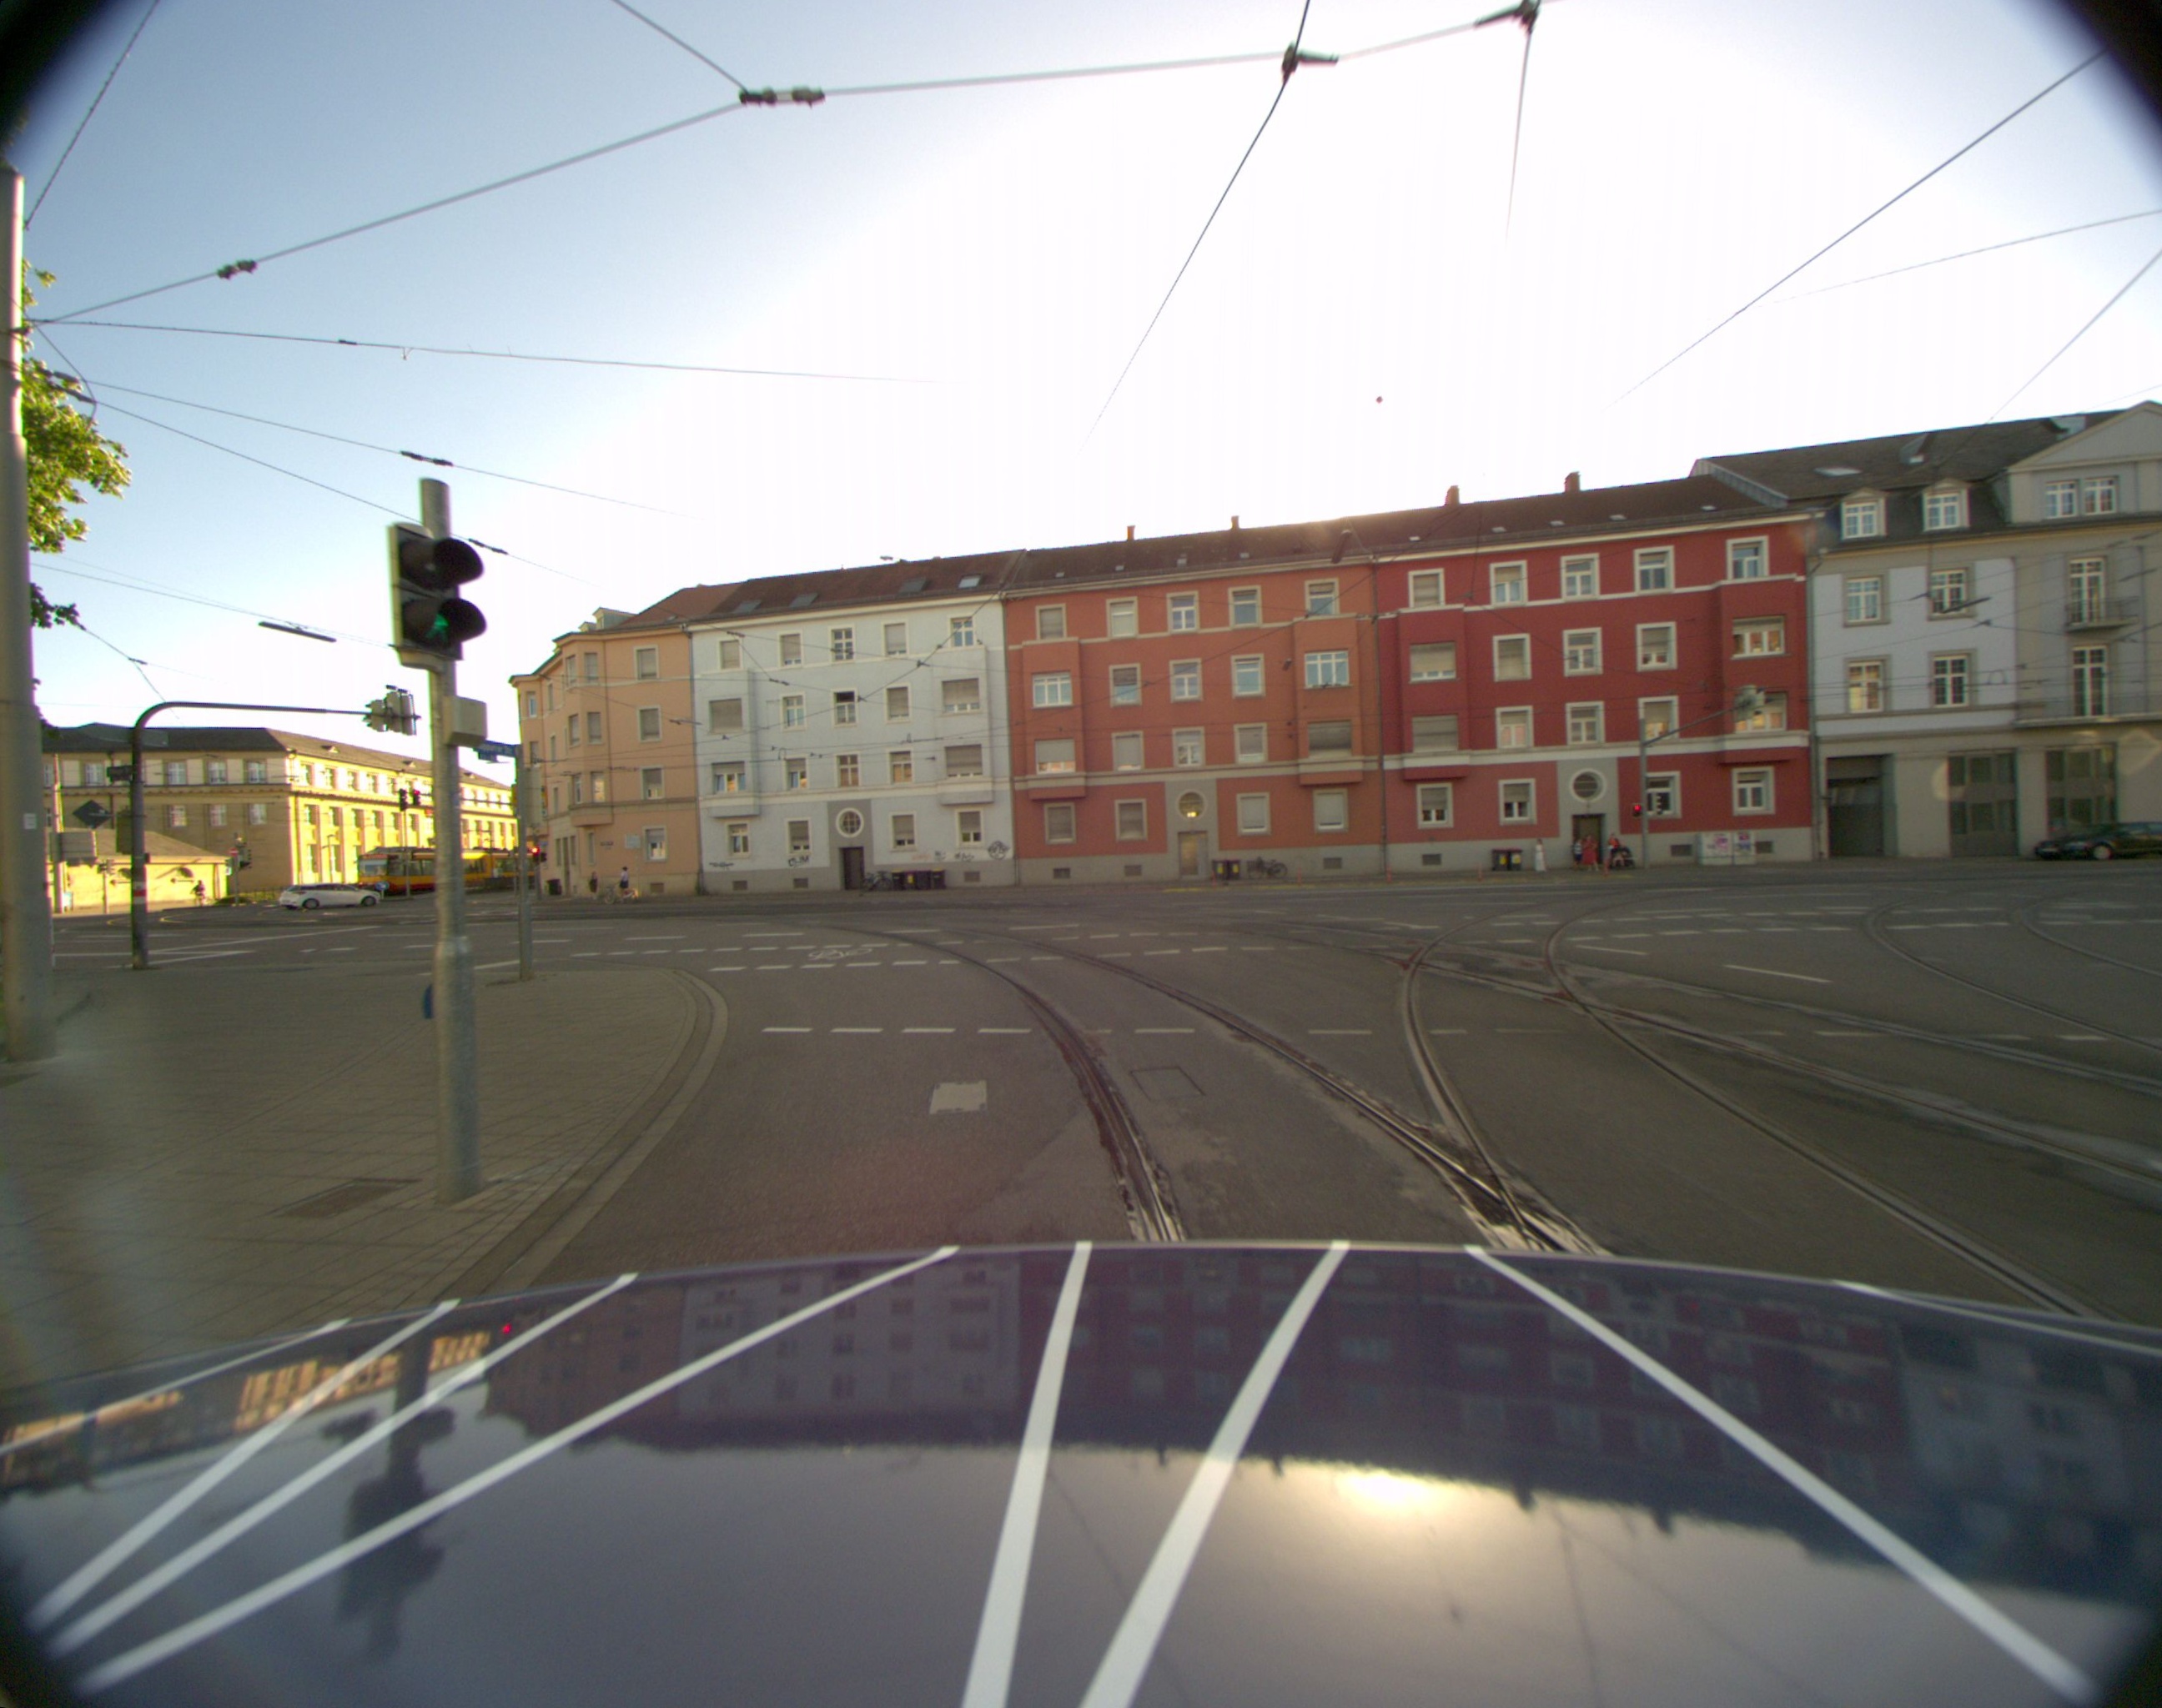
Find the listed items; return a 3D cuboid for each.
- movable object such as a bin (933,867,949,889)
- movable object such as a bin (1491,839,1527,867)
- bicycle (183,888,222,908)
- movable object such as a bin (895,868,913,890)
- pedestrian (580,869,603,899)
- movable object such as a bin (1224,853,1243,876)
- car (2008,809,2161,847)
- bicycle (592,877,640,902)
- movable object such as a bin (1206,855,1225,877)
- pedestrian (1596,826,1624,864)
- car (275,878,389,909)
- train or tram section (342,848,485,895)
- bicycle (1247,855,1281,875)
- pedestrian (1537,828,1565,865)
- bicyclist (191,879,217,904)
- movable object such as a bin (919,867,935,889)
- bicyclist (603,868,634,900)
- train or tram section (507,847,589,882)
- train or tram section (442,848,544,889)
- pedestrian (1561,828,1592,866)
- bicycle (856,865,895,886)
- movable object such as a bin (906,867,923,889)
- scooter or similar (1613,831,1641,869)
[{"bbox_3d":[-7.242,1.229,39.350,0.582,1.100,0.705,-2,1,9],"label":"movable object such as a bin"},{"bbox_3d":[19.651,-0.054,34.872,1.231,1.242,0.874,-2,1,16],"label":"movable object such as a bin"},{"bbox_3d":[-60.096,3.008,51.983,0.686,1.130,2.070,-3,2,-17],"label":"bicycle"},{"bbox_3d":[-9.269,1.295,39.708,0.647,1.100,0.705,-2,1,9],"label":"movable object such as a bin"},{"bbox_3d":[-27.237,1.664,42.261,0.719,1.555,0.678,-2,1,11],"label":"pedestrian"},{"bbox_3d":[7.392,0.503,36.903,0.810,1.034,0.846,-2,1,5],"label":"movable object such as a bin"},{"bbox_3d":[38.443,-0.977,28.825,3.994,1.225,1.726,-3,1,9],"label":"car"},{"bbox_3d":[-24.386,1.861,39.852,2.149,1.184,0.749,-2,1,10],"label":"bicycle"},{"bbox_3d":[6.557,0.566,37.000,0.810,1.034,0.846,-2,1,5],"label":"movable object such as a bin"},{"bbox_3d":[23.648,-0.398,33.946,0.796,1.624,0.653,-3,1,-23],"label":"pedestrian"},{"bbox_3d":[-41.988,2.188,42.703,1.788,1.386,4.110,-2,1,20],"label":"car"},{"bbox_3d":[-53.844,1.251,61.959,3.168,3.302,11.805,-3,1,-12],"label":"train or tram section"},{"bbox_3d":[8.861,0.538,36.794,1.601,0.885,0.336,-2,1,14],"label":"bicycle"},{"bbox_3d":[21.118,-0.329,34.173,0.655,1.624,0.794,-3,1,-12],"label":"pedestrian"},{"bbox_3d":[-60.163,2.592,52.146,0.678,1.630,0.938,-3,2,-17],"label":"bicyclist"},{"bbox_3d":[-7.992,1.244,39.489,0.582,1.100,0.705,-2,1,9],"label":"movable object such as a bin"},{"bbox_3d":[-24.232,1.576,39.816,1.124,1.633,0.749,-2,1,10],"label":"bicyclist"},{"bbox_3d":[-58.312,1.025,83.513,3.166,3.338,10.836,-3,2,-12],"label":"train or tram section"},{"bbox_3d":[-56.117,1.234,73.021,3.166,3.338,10.667,-3,2,-12],"label":"train or tram section"},{"bbox_3d":[22.207,-0.316,34.036,0.796,1.624,0.829,-3,1,-28],"label":"pedestrian"},{"bbox_3d":[-10.810,1.134,39.982,1.874,0.974,0.607,-2,2,9],"label":"bicycle"},{"bbox_3d":[-8.687,1.269,39.616,0.582,1.100,0.705,-2,1,9],"label":"movable object such as a bin"},{"bbox_3d":[23.945,-0.171,33.319,0.796,1.624,0.653,-3,1,-23],"label":"scooter or similar"}]
